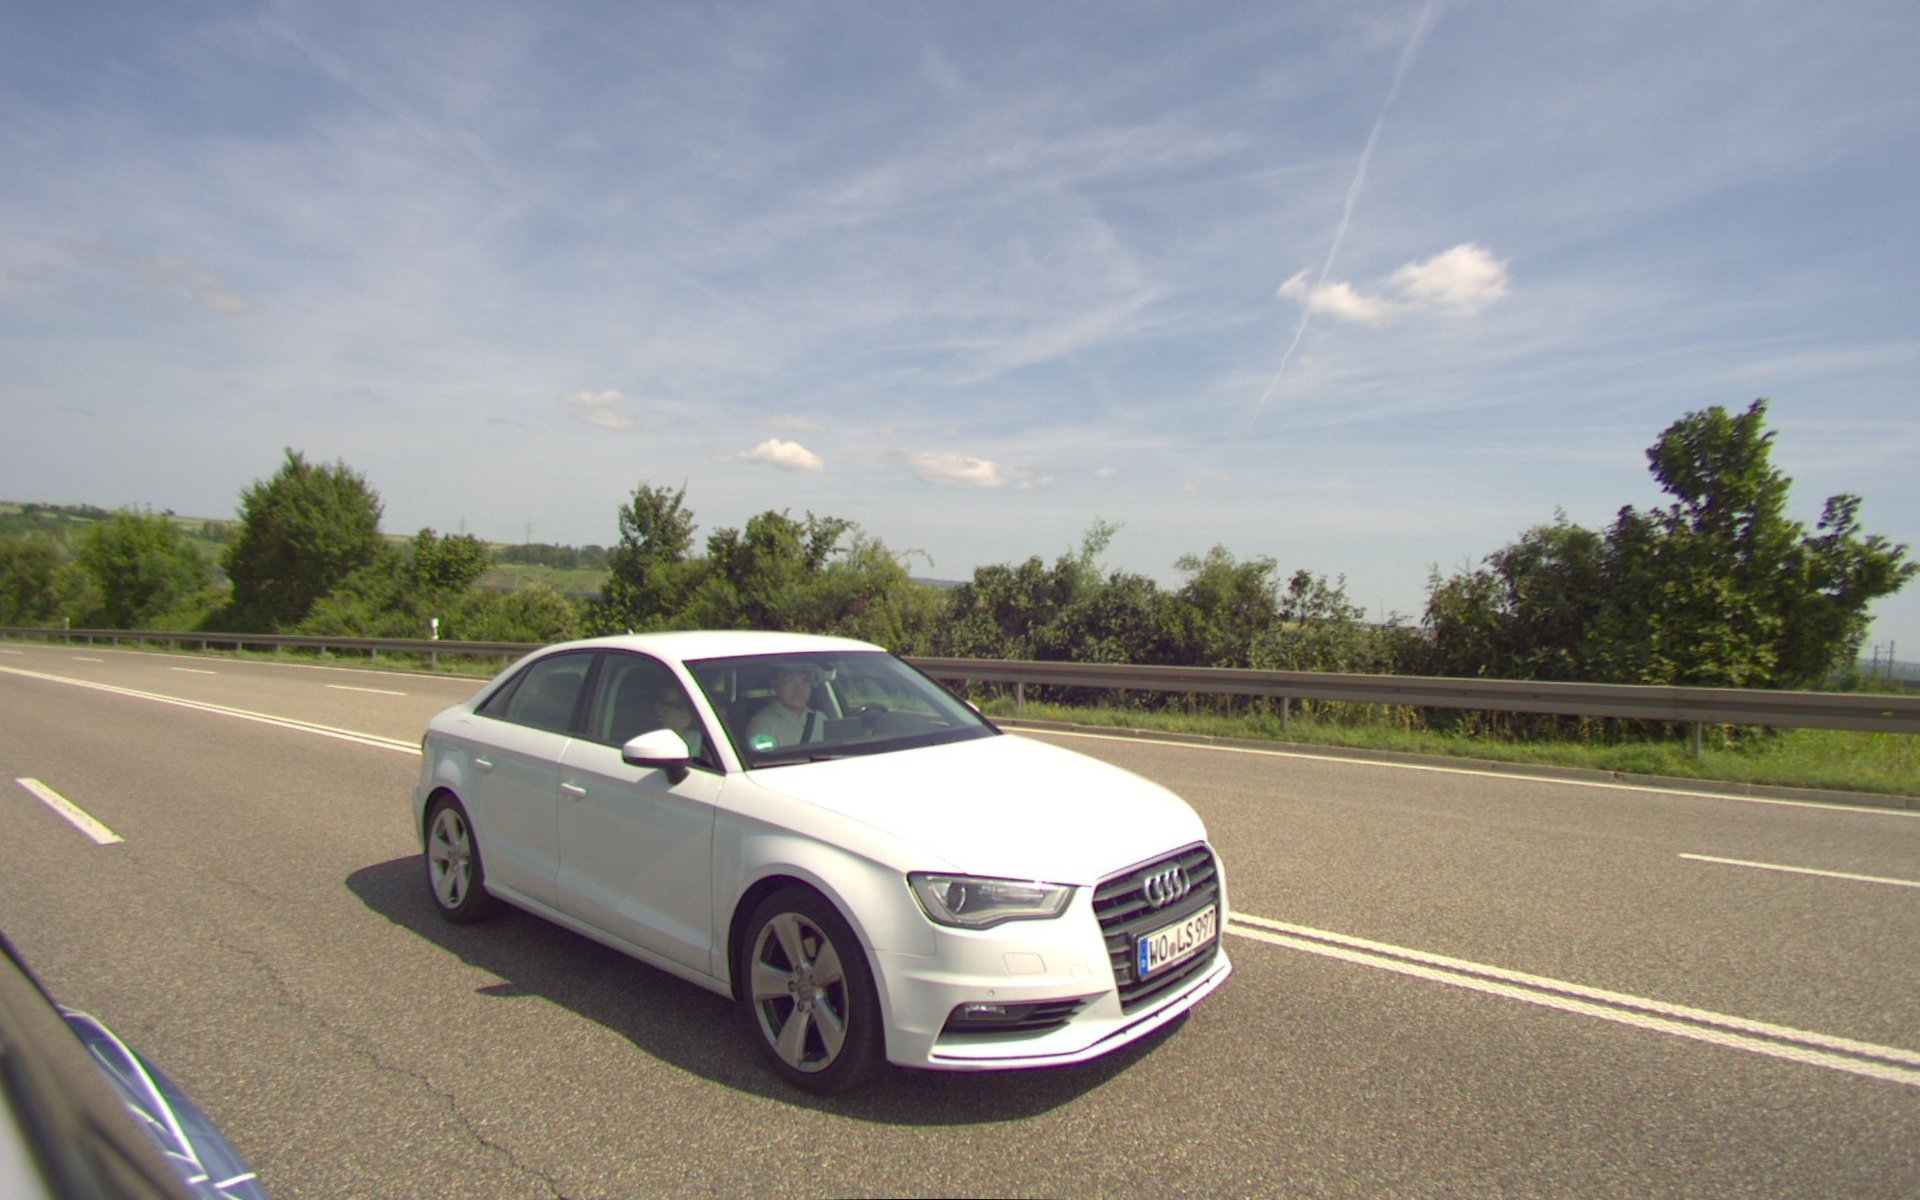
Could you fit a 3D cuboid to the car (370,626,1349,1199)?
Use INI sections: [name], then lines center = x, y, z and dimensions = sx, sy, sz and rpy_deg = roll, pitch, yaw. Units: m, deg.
[car]
center = -0.887, 0.824, 4.514
dimensions = 4.601, 1.386, 1.685
rpy_deg = -1, -1, 42
